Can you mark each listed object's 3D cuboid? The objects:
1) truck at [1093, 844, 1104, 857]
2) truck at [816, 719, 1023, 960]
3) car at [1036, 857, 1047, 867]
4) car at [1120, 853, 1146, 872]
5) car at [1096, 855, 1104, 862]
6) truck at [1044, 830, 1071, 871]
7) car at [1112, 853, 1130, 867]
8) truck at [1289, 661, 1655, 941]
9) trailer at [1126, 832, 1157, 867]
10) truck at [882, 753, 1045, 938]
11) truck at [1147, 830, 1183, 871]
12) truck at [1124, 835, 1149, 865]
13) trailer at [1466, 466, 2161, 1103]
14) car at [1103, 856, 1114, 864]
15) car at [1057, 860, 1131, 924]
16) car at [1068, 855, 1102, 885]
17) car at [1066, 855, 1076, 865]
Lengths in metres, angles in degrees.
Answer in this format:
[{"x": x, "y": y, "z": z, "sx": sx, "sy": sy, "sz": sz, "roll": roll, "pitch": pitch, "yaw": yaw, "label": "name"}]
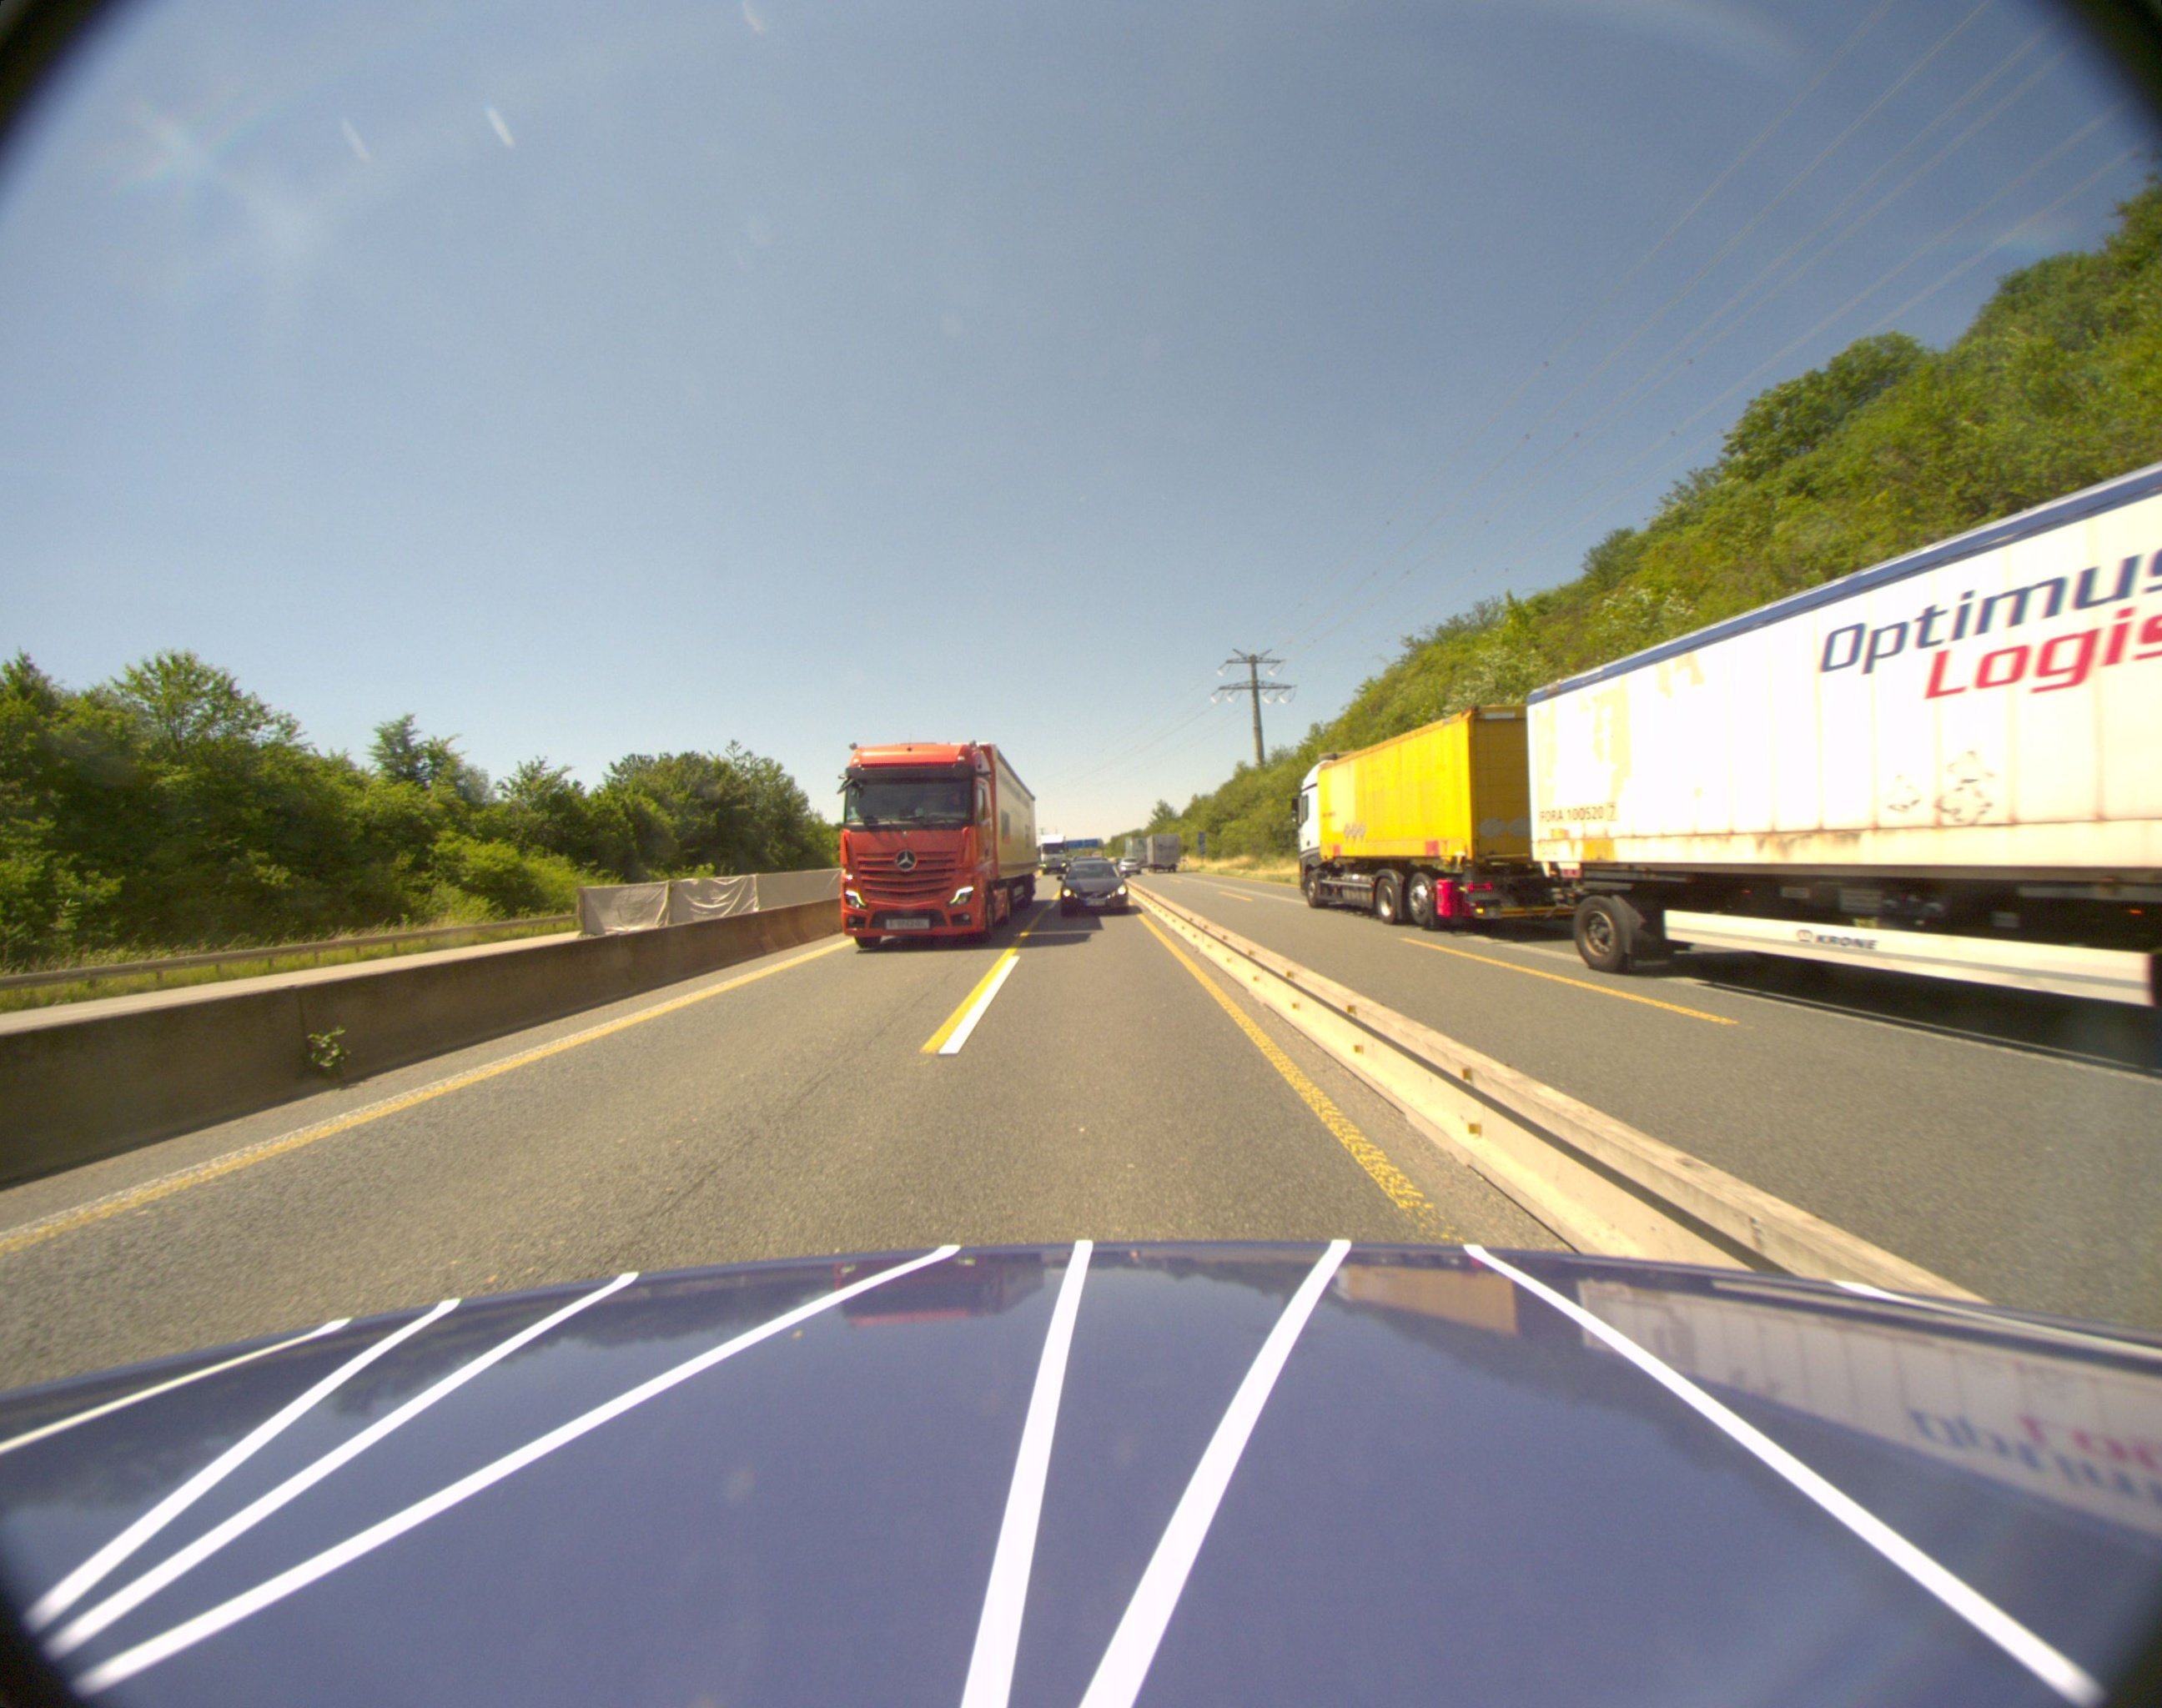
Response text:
[{"x": 5.444, "y": -0.985, "z": 236.547, "sx": 2.943, "sy": 3.754, "sz": 11.379, "roll": -4, "pitch": 0, "yaw": 1, "label": "truck"}, {"x": -3.015, "y": -0.200, "z": 16.285, "sx": 2.689, "sy": 3.986, "sz": 6.726, "roll": -3, "pitch": -1, "yaw": 1, "label": "truck"}, {"x": -6.721, "y": 1.413, "z": 129.827, "sx": 1.767, "sy": 1.523, "sz": 4.697, "roll": -3, "pitch": 1, "yaw": -2, "label": "car"}, {"x": 4.329, "y": 0.670, "z": 64.051, "sx": 1.846, "sy": 1.481, "sz": 4.510, "roll": -1, "pitch": 1, "yaw": 0, "label": "car"}, {"x": 4.556, "y": 1.036, "z": 185.529, "sx": 1.904, "sy": 1.507, "sz": 4.276, "roll": -3, "pitch": 1, "yaw": 1, "label": "car"}, {"x": -2.469, "y": -0.350, "z": 82.177, "sx": 2.481, "sy": 4.030, "sz": 13.109, "roll": -2, "pitch": 0, "yaw": -1, "label": "truck"}, {"x": 4.565, "y": 0.699, "z": 87.274, "sx": 1.765, "sy": 1.481, "sz": 4.401, "roll": -3, "pitch": 1, "yaw": 1, "label": "car"}, {"x": 7.124, "y": -0.785, "z": 16.082, "sx": 2.656, "sy": 3.969, "sz": 9.650, "roll": -4, "pitch": 0, "yaw": 1, "label": "truck"}, {"x": 7.822, "y": -0.556, "z": 100.085, "sx": 2.899, "sy": 4.101, "sz": 13.243, "roll": -3, "pitch": 0, "yaw": 0, "label": "trailer"}, {"x": -2.917, "y": -0.225, "z": 23.454, "sx": 2.689, "sy": 3.987, "sz": 13.218, "roll": -3, "pitch": 0, "yaw": 0, "label": "truck"}, {"x": 7.300, "y": -0.347, "z": 67.157, "sx": 2.411, "sy": 3.311, "sz": 7.499, "roll": -3, "pitch": 1, "yaw": 1, "label": "truck"}, {"x": 7.812, "y": -0.551, "z": 107.330, "sx": 2.902, "sy": 4.094, "sz": 6.020, "roll": -3, "pitch": 0, "yaw": 0, "label": "truck"}, {"x": 7.004, "y": -0.426, "z": 6.661, "sx": 2.657, "sy": 3.317, "sz": 8.918, "roll": -4, "pitch": 0, "yaw": 1, "label": "trailer"}, {"x": 5.466, "y": 1.152, "z": 151.928, "sx": 1.904, "sy": 1.496, "sz": 4.276, "roll": -3, "pitch": 0, "yaw": 0, "label": "car"}, {"x": 0.352, "y": 0.958, "z": 20.953, "sx": 1.767, "sy": 1.411, "sz": 4.698, "roll": -3, "pitch": 1, "yaw": 1, "label": "car"}, {"x": 0.228, "y": 0.873, "z": 43.506, "sx": 1.767, "sy": 1.523, "sz": 4.698, "roll": -3, "pitch": 1, "yaw": 1, "label": "car"}, {"x": -1.783, "y": 1.088, "z": 135.772, "sx": 1.767, "sy": 1.523, "sz": 4.698, "roll": -3, "pitch": 1, "yaw": -1, "label": "car"}]
